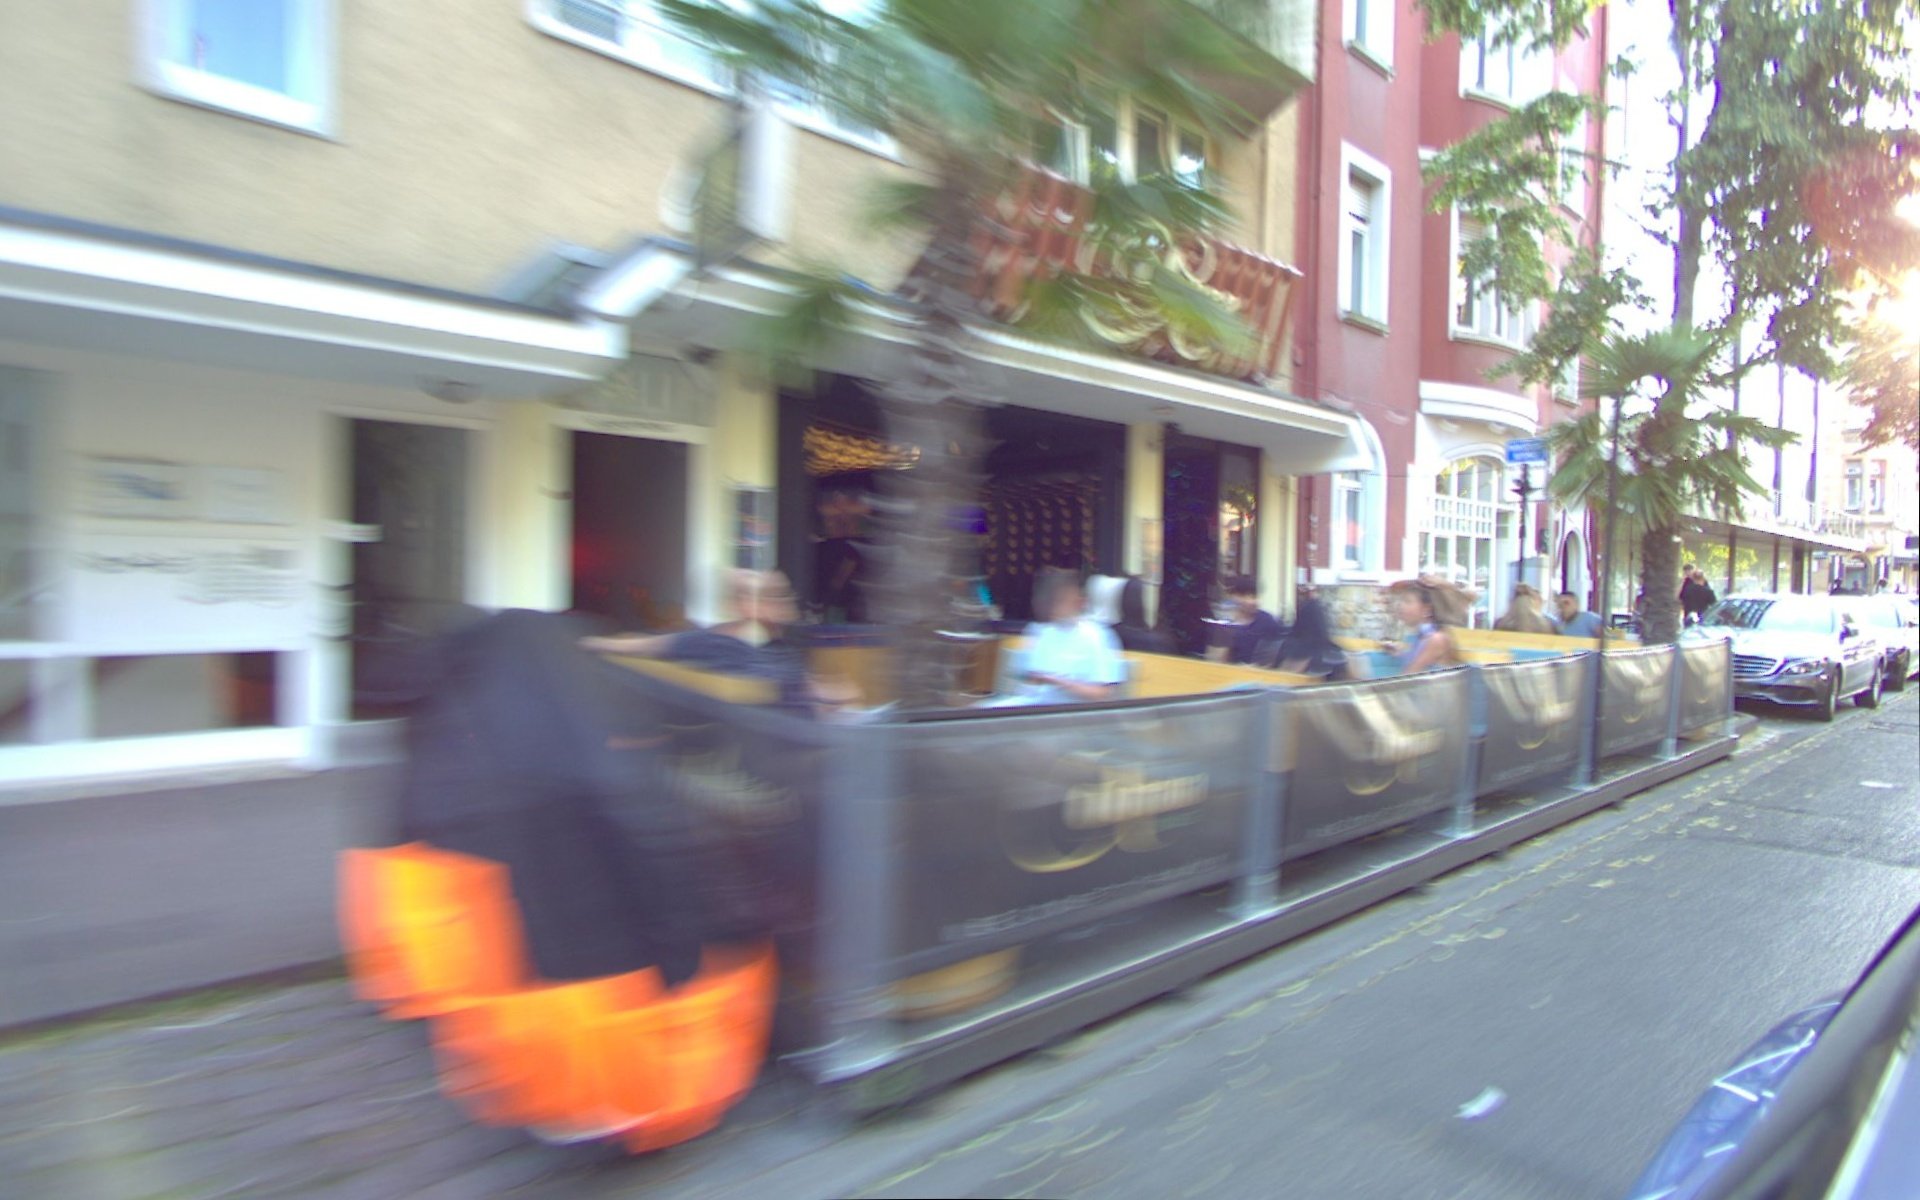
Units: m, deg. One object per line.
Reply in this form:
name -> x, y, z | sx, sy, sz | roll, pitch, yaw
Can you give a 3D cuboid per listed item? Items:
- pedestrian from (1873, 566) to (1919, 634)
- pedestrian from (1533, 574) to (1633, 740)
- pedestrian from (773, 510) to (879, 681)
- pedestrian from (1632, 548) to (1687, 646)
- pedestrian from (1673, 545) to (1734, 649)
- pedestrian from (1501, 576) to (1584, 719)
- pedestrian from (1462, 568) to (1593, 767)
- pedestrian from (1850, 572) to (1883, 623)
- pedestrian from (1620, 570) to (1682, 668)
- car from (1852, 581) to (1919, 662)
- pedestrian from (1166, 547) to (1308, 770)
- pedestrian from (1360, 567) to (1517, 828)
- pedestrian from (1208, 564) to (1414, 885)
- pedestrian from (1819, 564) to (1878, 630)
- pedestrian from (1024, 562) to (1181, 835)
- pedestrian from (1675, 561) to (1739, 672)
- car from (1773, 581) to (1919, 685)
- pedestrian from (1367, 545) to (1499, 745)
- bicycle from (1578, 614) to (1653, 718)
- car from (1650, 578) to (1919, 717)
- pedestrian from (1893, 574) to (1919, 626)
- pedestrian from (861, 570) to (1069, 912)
pedestrian -> 26.327, -0.011, 28.437 | 0.854, 1.806, 0.732 | 0, 5, -41
pedestrian -> 5.864, 0.508, 9.533 | 0.592, 1.480, 0.579 | 0, 3, -41
pedestrian -> -1.574, -0.063, 11.888 | 0.863, 1.907, 0.800 | 2, 1, -45
pedestrian -> 13.588, -0.070, 19.663 | 0.821, 1.831, 0.590 | 0, 4, -41
pedestrian -> 14.072, -0.067, 19.148 | 0.959, 1.890, 0.627 | 0, 4, -41
pedestrian -> 5.835, 0.457, 10.142 | 0.430, 1.361, 0.549 | 0, 3, -40
pedestrian -> 4.618, 0.508, 8.232 | 0.781, 1.503, 0.633 | 0, 3, -41
pedestrian -> 32.251, -0.085, 36.011 | 0.798, 1.780, 0.756 | 0, 1, -41
pedestrian -> 11.106, 0.290, 16.262 | 0.629, 1.506, 0.626 | 0, 2, -40
car -> 20.283, 0.425, 21.247 | 4.670, 1.510, 1.726 | 0, 4, -42
pedestrian -> 1.879, 0.359, 6.864 | 0.705, 1.401, 0.579 | 0, 3, -40
pedestrian -> 2.786, 0.522, 5.901 | 0.592, 1.401, 0.579 | 0, 3, -40
pedestrian -> 1.625, 0.516, 4.693 | 0.691, 1.335, 0.579 | 0, 3, -40
pedestrian -> 25.665, -0.091, 29.236 | 0.928, 1.807, 1.049 | 0, 4, -40
pedestrian -> 0.792, 0.503, 5.653 | 0.592, 1.401, 0.579 | 0, 3, -40
pedestrian -> 11.770, 0.242, 15.951 | 0.629, 1.698, 0.626 | 0, 2, -40
car -> 15.727, 0.477, 17.559 | 4.341, 1.488, 1.778 | 0, 4, -42
pedestrian -> 4.091, 0.356, 8.760 | 0.781, 1.618, 0.709 | 0, 3, -41
bicycle -> 7.056, 0.672, 10.863 | 0.385, 0.996, 1.685 | 2, 2, 43
car -> 11.069, 0.505, 13.431 | 4.910, 1.457, 1.780 | 0, 4, -39
pedestrian -> 32.948, 0.004, 35.098 | 0.798, 1.780, 0.756 | 0, 1, -41
pedestrian -> 0.016, 0.521, 4.181 | 0.592, 1.259, 0.579 | 0, 3, -40
